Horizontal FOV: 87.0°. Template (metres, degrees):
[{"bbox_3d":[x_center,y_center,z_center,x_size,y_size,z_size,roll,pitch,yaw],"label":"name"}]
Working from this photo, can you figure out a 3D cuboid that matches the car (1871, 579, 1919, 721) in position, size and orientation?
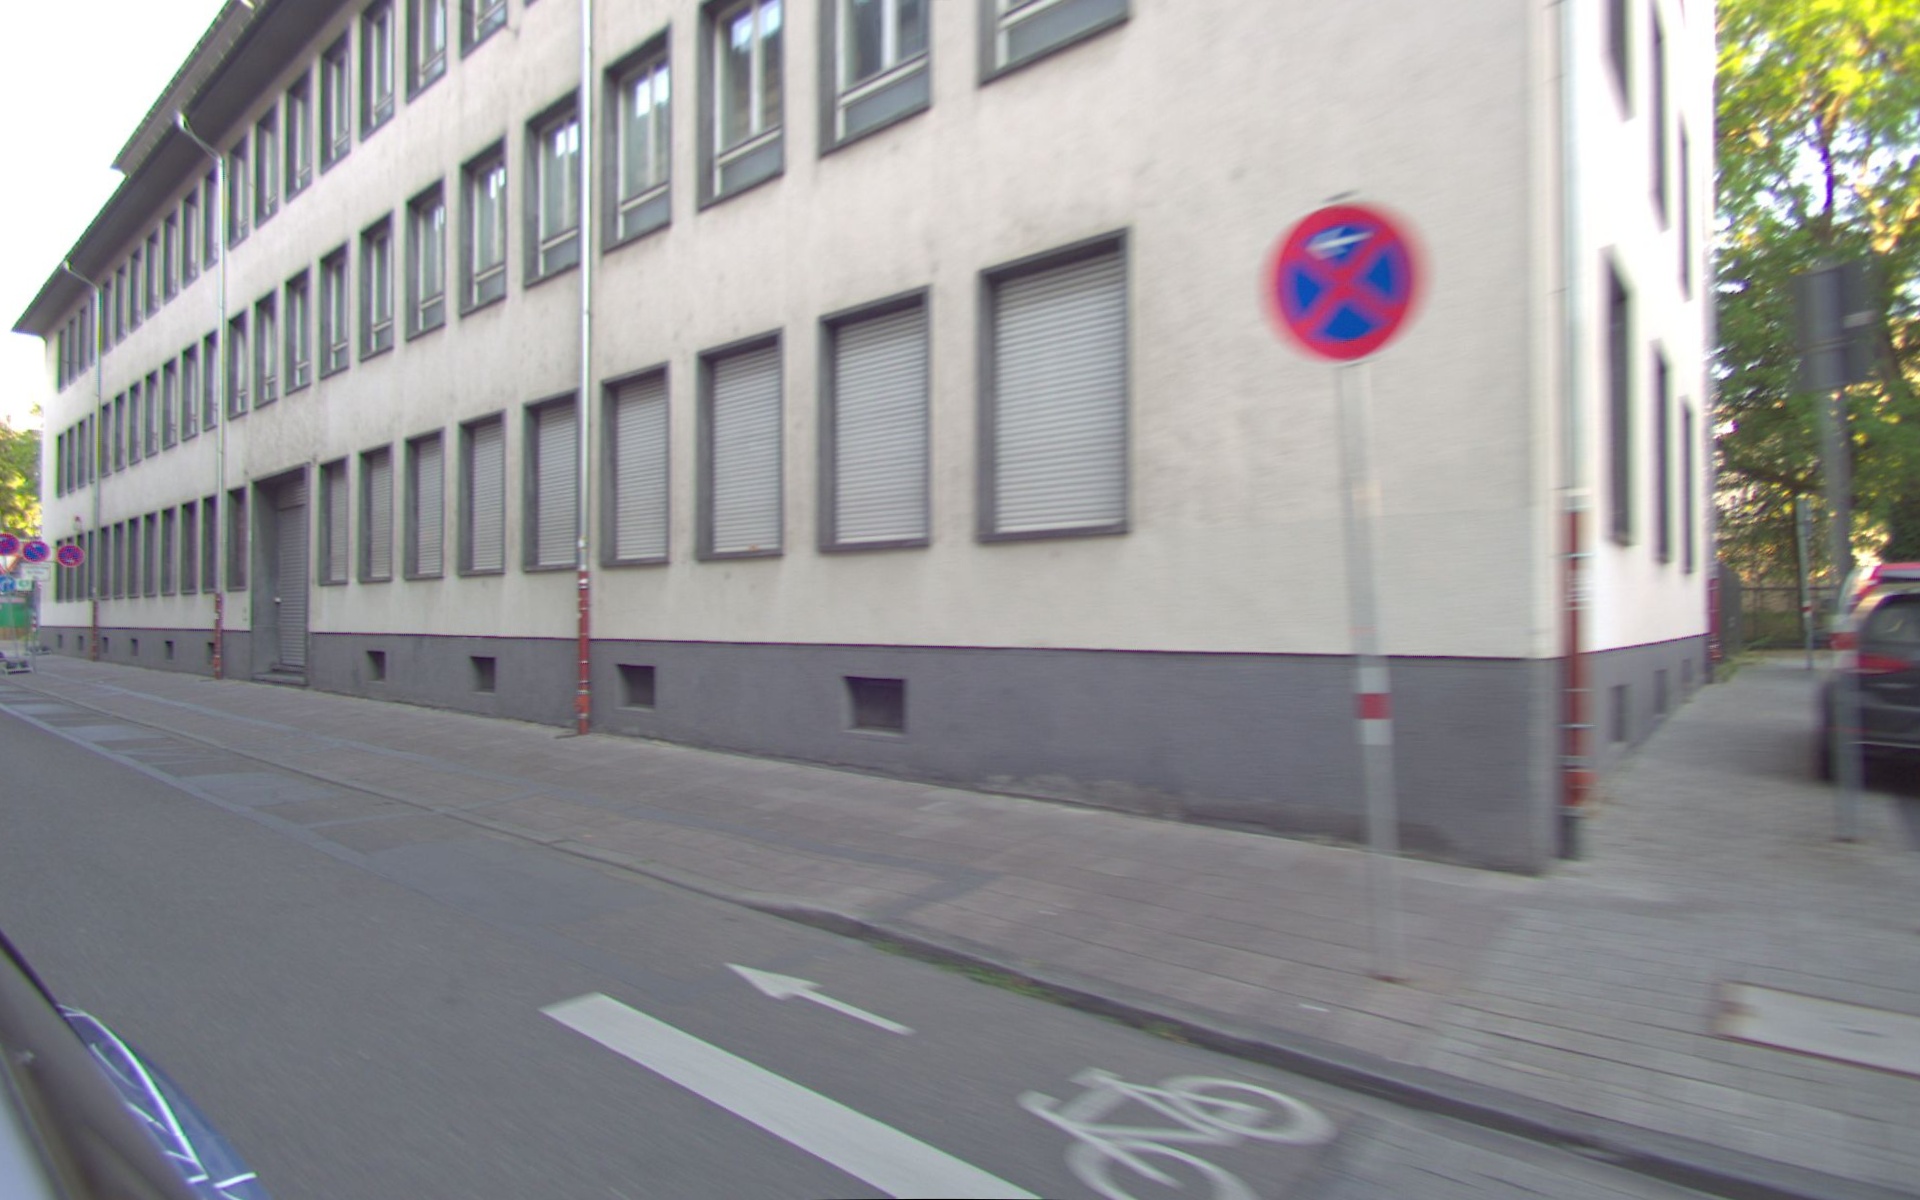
[{"bbox_3d":[11.657,0.523,11.527,1.729,1.451,4.206,2,1,44],"label":"car"}]

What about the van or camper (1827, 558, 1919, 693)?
[{"bbox_3d":[15.222,0.357,16.026,1.933,1.923,4.651,1,1,37],"label":"van or camper"}]

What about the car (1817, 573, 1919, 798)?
[{"bbox_3d":[7.790,0.543,7.691,1.728,1.451,3.914,-1,-1,43],"label":"car"}]
